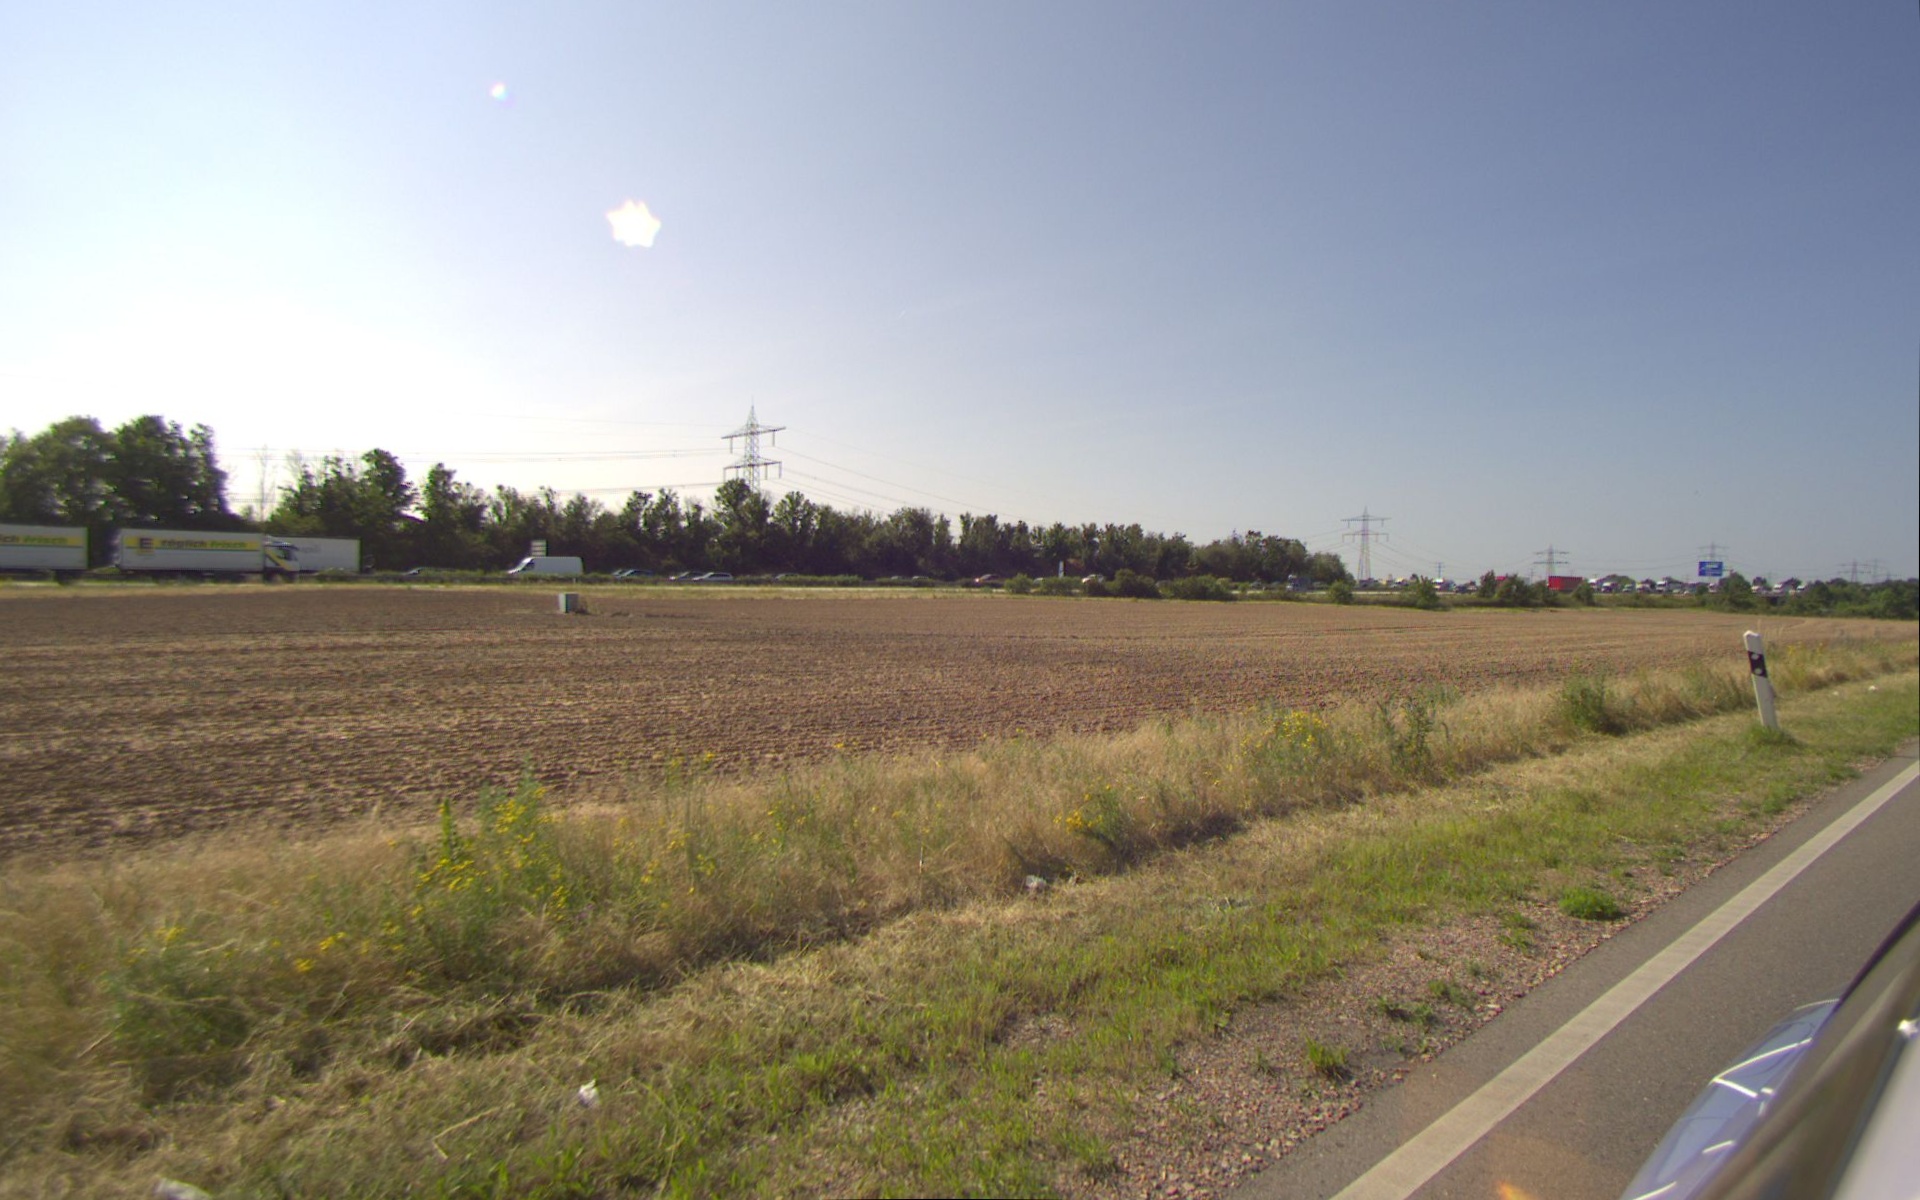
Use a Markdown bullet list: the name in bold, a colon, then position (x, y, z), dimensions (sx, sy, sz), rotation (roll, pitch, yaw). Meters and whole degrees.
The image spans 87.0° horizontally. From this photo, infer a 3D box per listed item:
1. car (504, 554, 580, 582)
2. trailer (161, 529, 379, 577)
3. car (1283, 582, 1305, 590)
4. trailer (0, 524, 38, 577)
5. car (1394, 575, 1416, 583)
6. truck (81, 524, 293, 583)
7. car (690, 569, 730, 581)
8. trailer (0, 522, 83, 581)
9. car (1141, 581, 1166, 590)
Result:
- **car**: position (-39.069, -2.976, 94.684), dimensions (6.301, 2.478, 2.041), rotation (0, 1, -41)
- **trailer**: position (-57.517, -3.857, 84.938), dimensions (14.825, 3.574, 3.207), rotation (0, 2, -42)
- **car**: position (51.237, -2.163, 155.324), dimensions (3.489, 1.279, 1.581), rotation (0, 0, -41)
- **trailer**: position (-73.655, -3.596, 70.697), dimensions (13.545, 3.780, 2.950), rotation (0, 1, -42)
- **car**: position (95.454, -4.494, 217.202), dimensions (5.509, 1.701, 2.054), rotation (0, 1, -40)
- **truck**: position (-50.743, -2.951, 66.752), dimensions (10.931, 3.521, 2.810), rotation (0, 2, -42)
- **car**: position (-25.749, -2.565, 104.359), dimensions (3.796, 1.139, 1.342), rotation (0, 1, -42)
- **trailer**: position (-57.870, -2.919, 60.220), dimensions (8.569, 3.458, 2.797), rotation (0, 1, -42)
- **car**: position (26.793, -2.014, 140.303), dimensions (3.489, 1.279, 1.581), rotation (0, 0, -41)
